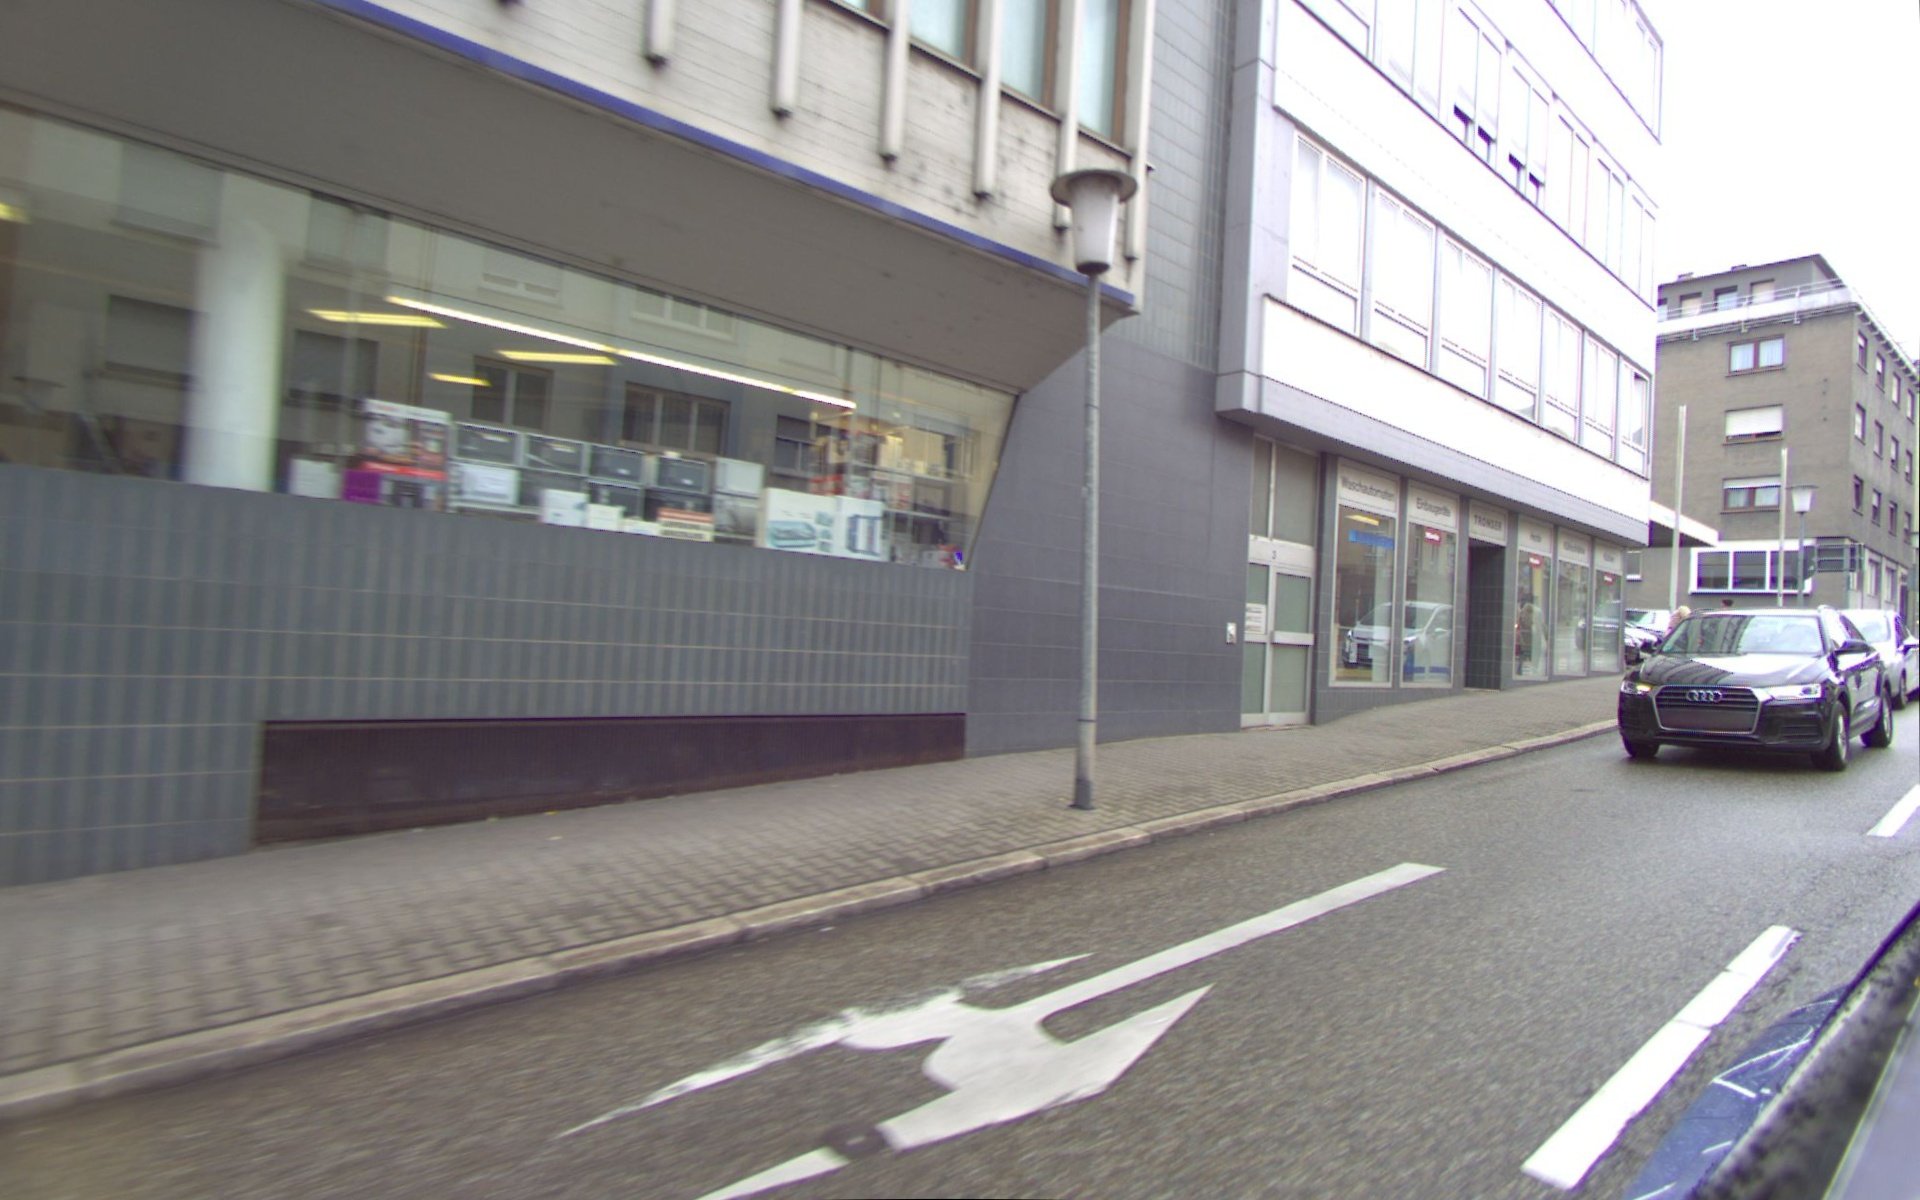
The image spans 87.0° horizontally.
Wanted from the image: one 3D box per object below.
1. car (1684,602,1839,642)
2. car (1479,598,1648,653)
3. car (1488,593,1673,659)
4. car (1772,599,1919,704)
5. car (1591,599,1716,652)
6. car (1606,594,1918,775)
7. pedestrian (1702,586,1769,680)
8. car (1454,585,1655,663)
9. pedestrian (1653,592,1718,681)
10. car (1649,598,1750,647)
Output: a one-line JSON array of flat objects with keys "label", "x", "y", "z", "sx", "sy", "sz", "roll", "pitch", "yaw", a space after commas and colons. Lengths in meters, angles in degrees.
[{"label": "car", "x": 32.237, "y": 0.889, "z": 40.849, "sx": 1.962, "sy": 1.523, "sz": 4.534, "roll": 0, "pitch": -1, "yaw": -36}, {"label": "car", "x": 16.975, "y": 0.670, "z": 28.513, "sx": 3.976, "sy": 1.418, "sz": 1.649, "roll": 1, "pitch": 0, "yaw": 36}, {"label": "car", "x": 16.057, "y": 0.620, "z": 26.305, "sx": 3.973, "sy": 1.549, "sz": 1.742, "roll": 1, "pitch": 0, "yaw": 34}, {"label": "car", "x": 15.258, "y": 0.817, "z": 17.104, "sx": 4.181, "sy": 1.561, "sz": 1.827, "roll": 0, "pitch": -3, "yaw": -44}, {"label": "car", "x": 20.774, "y": 0.726, "z": 30.252, "sx": 4.530, "sy": 1.433, "sz": 1.793, "roll": 0, "pitch": 1, "yaw": -38}, {"label": "car", "x": 8.784, "y": 0.764, "z": 10.968, "sx": 4.127, "sy": 1.580, "sz": 1.826, "roll": 0, "pitch": -2, "yaw": -40}, {"label": "pedestrian", "x": 14.976, "y": 0.609, "z": 19.550, "sx": 1.102, "sy": 1.726, "sz": 0.785, "roll": 0, "pitch": 3, "yaw": -43}, {"label": "car", "x": 14.318, "y": 0.521, "z": 24.506, "sx": 3.973, "sy": 1.468, "sz": 1.777, "roll": 5, "pitch": 3, "yaw": 33}, {"label": "pedestrian", "x": 13.617, "y": 0.660, "z": 18.987, "sx": 0.876, "sy": 1.570, "sz": 0.766, "roll": 0, "pitch": 3, "yaw": -43}, {"label": "car", "x": 25.173, "y": 0.734, "z": 34.402, "sx": 4.358, "sy": 1.531, "sz": 1.792, "roll": 0, "pitch": 0, "yaw": -40}]
